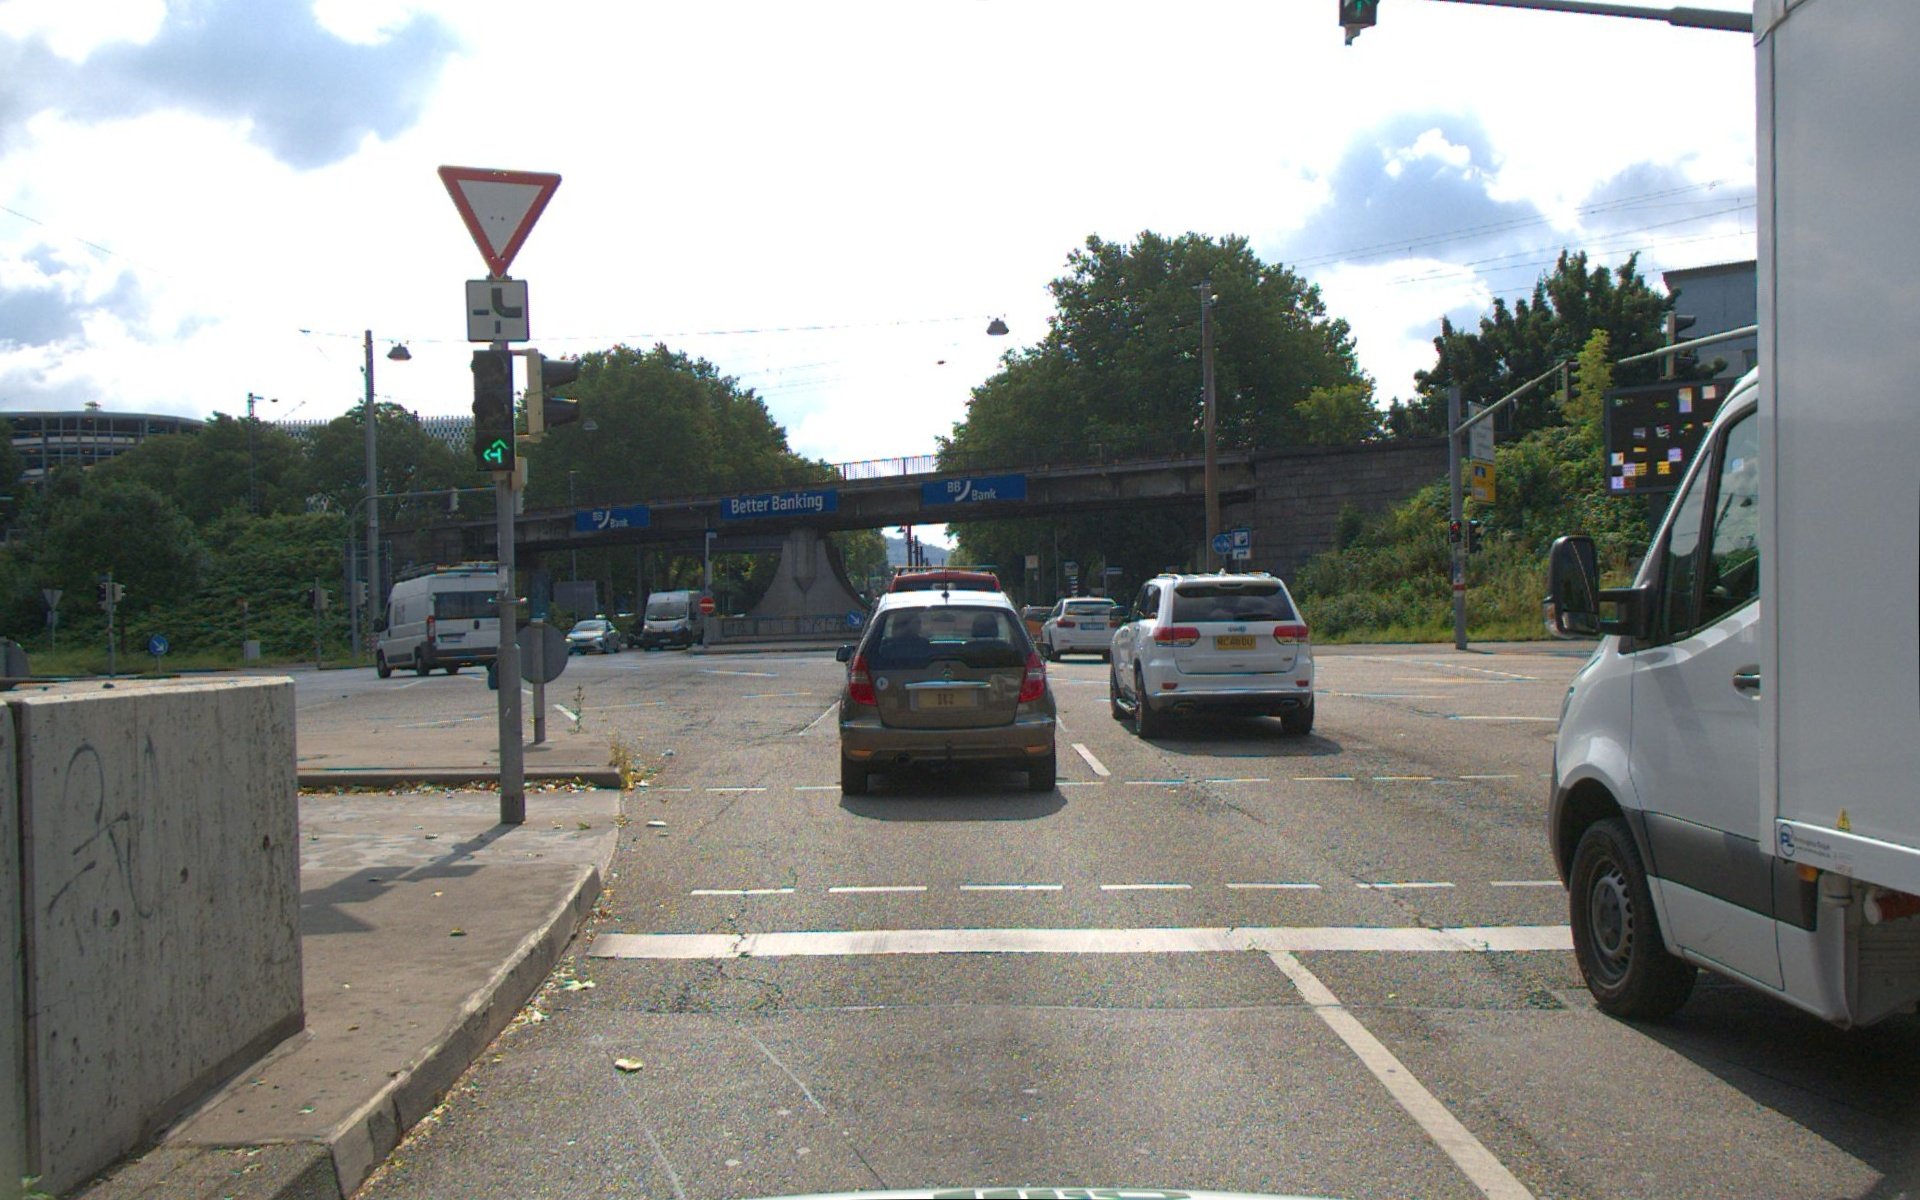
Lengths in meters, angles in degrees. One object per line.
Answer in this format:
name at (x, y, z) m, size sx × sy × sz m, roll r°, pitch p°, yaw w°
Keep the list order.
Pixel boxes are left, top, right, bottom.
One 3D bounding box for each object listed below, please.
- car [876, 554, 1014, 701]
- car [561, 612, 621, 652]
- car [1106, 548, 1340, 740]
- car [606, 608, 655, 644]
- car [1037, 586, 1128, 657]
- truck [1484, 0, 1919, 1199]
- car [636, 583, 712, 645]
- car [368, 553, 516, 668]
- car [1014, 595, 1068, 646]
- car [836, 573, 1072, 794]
car at (-0.227, 0.363, 25.614) m, size 1.915 × 2.052 × 4.676 m, roll 0°, pitch 0°, yaw 0°
car at (-15.573, 1.327, 70.000) m, size 1.668 × 1.502 × 3.999 m, roll -4°, pitch 0°, yaw -1°
car at (2.904, 0.436, 19.242) m, size 1.954 × 1.934 × 4.508 m, roll -1°, pitch 0°, yaw 0°
car at (-16.376, 1.284, 82.309) m, size 1.731 × 1.610 × 4.659 m, roll -5°, pitch 0°, yaw -5°
car at (2.785, 0.514, 38.250) m, size 1.814 × 1.548 × 3.616 m, roll 0°, pitch -1°, yaw 0°
truck at (3.333, -0.148, 3.604) m, size 2.397 × 3.176 × 6.026 m, roll 0°, pitch 0°, yaw -1°
car at (-12.421, 0.594, 72.199) m, size 2.211 × 2.570 × 5.627 m, roll -1°, pitch 0°, yaw 1°
car at (-13.398, 0.315, 42.567) m, size 2.180 × 2.774 × 4.869 m, roll -1°, pitch -1°, yaw -35°
car at (2.565, 0.671, 53.127) m, size 1.512 × 1.548 × 3.616 m, roll 0°, pitch -1°, yaw 0°
car at (-0.058, 0.620, 14.290) m, size 1.755 × 1.637 × 3.798 m, roll -1°, pitch 0°, yaw 0°
